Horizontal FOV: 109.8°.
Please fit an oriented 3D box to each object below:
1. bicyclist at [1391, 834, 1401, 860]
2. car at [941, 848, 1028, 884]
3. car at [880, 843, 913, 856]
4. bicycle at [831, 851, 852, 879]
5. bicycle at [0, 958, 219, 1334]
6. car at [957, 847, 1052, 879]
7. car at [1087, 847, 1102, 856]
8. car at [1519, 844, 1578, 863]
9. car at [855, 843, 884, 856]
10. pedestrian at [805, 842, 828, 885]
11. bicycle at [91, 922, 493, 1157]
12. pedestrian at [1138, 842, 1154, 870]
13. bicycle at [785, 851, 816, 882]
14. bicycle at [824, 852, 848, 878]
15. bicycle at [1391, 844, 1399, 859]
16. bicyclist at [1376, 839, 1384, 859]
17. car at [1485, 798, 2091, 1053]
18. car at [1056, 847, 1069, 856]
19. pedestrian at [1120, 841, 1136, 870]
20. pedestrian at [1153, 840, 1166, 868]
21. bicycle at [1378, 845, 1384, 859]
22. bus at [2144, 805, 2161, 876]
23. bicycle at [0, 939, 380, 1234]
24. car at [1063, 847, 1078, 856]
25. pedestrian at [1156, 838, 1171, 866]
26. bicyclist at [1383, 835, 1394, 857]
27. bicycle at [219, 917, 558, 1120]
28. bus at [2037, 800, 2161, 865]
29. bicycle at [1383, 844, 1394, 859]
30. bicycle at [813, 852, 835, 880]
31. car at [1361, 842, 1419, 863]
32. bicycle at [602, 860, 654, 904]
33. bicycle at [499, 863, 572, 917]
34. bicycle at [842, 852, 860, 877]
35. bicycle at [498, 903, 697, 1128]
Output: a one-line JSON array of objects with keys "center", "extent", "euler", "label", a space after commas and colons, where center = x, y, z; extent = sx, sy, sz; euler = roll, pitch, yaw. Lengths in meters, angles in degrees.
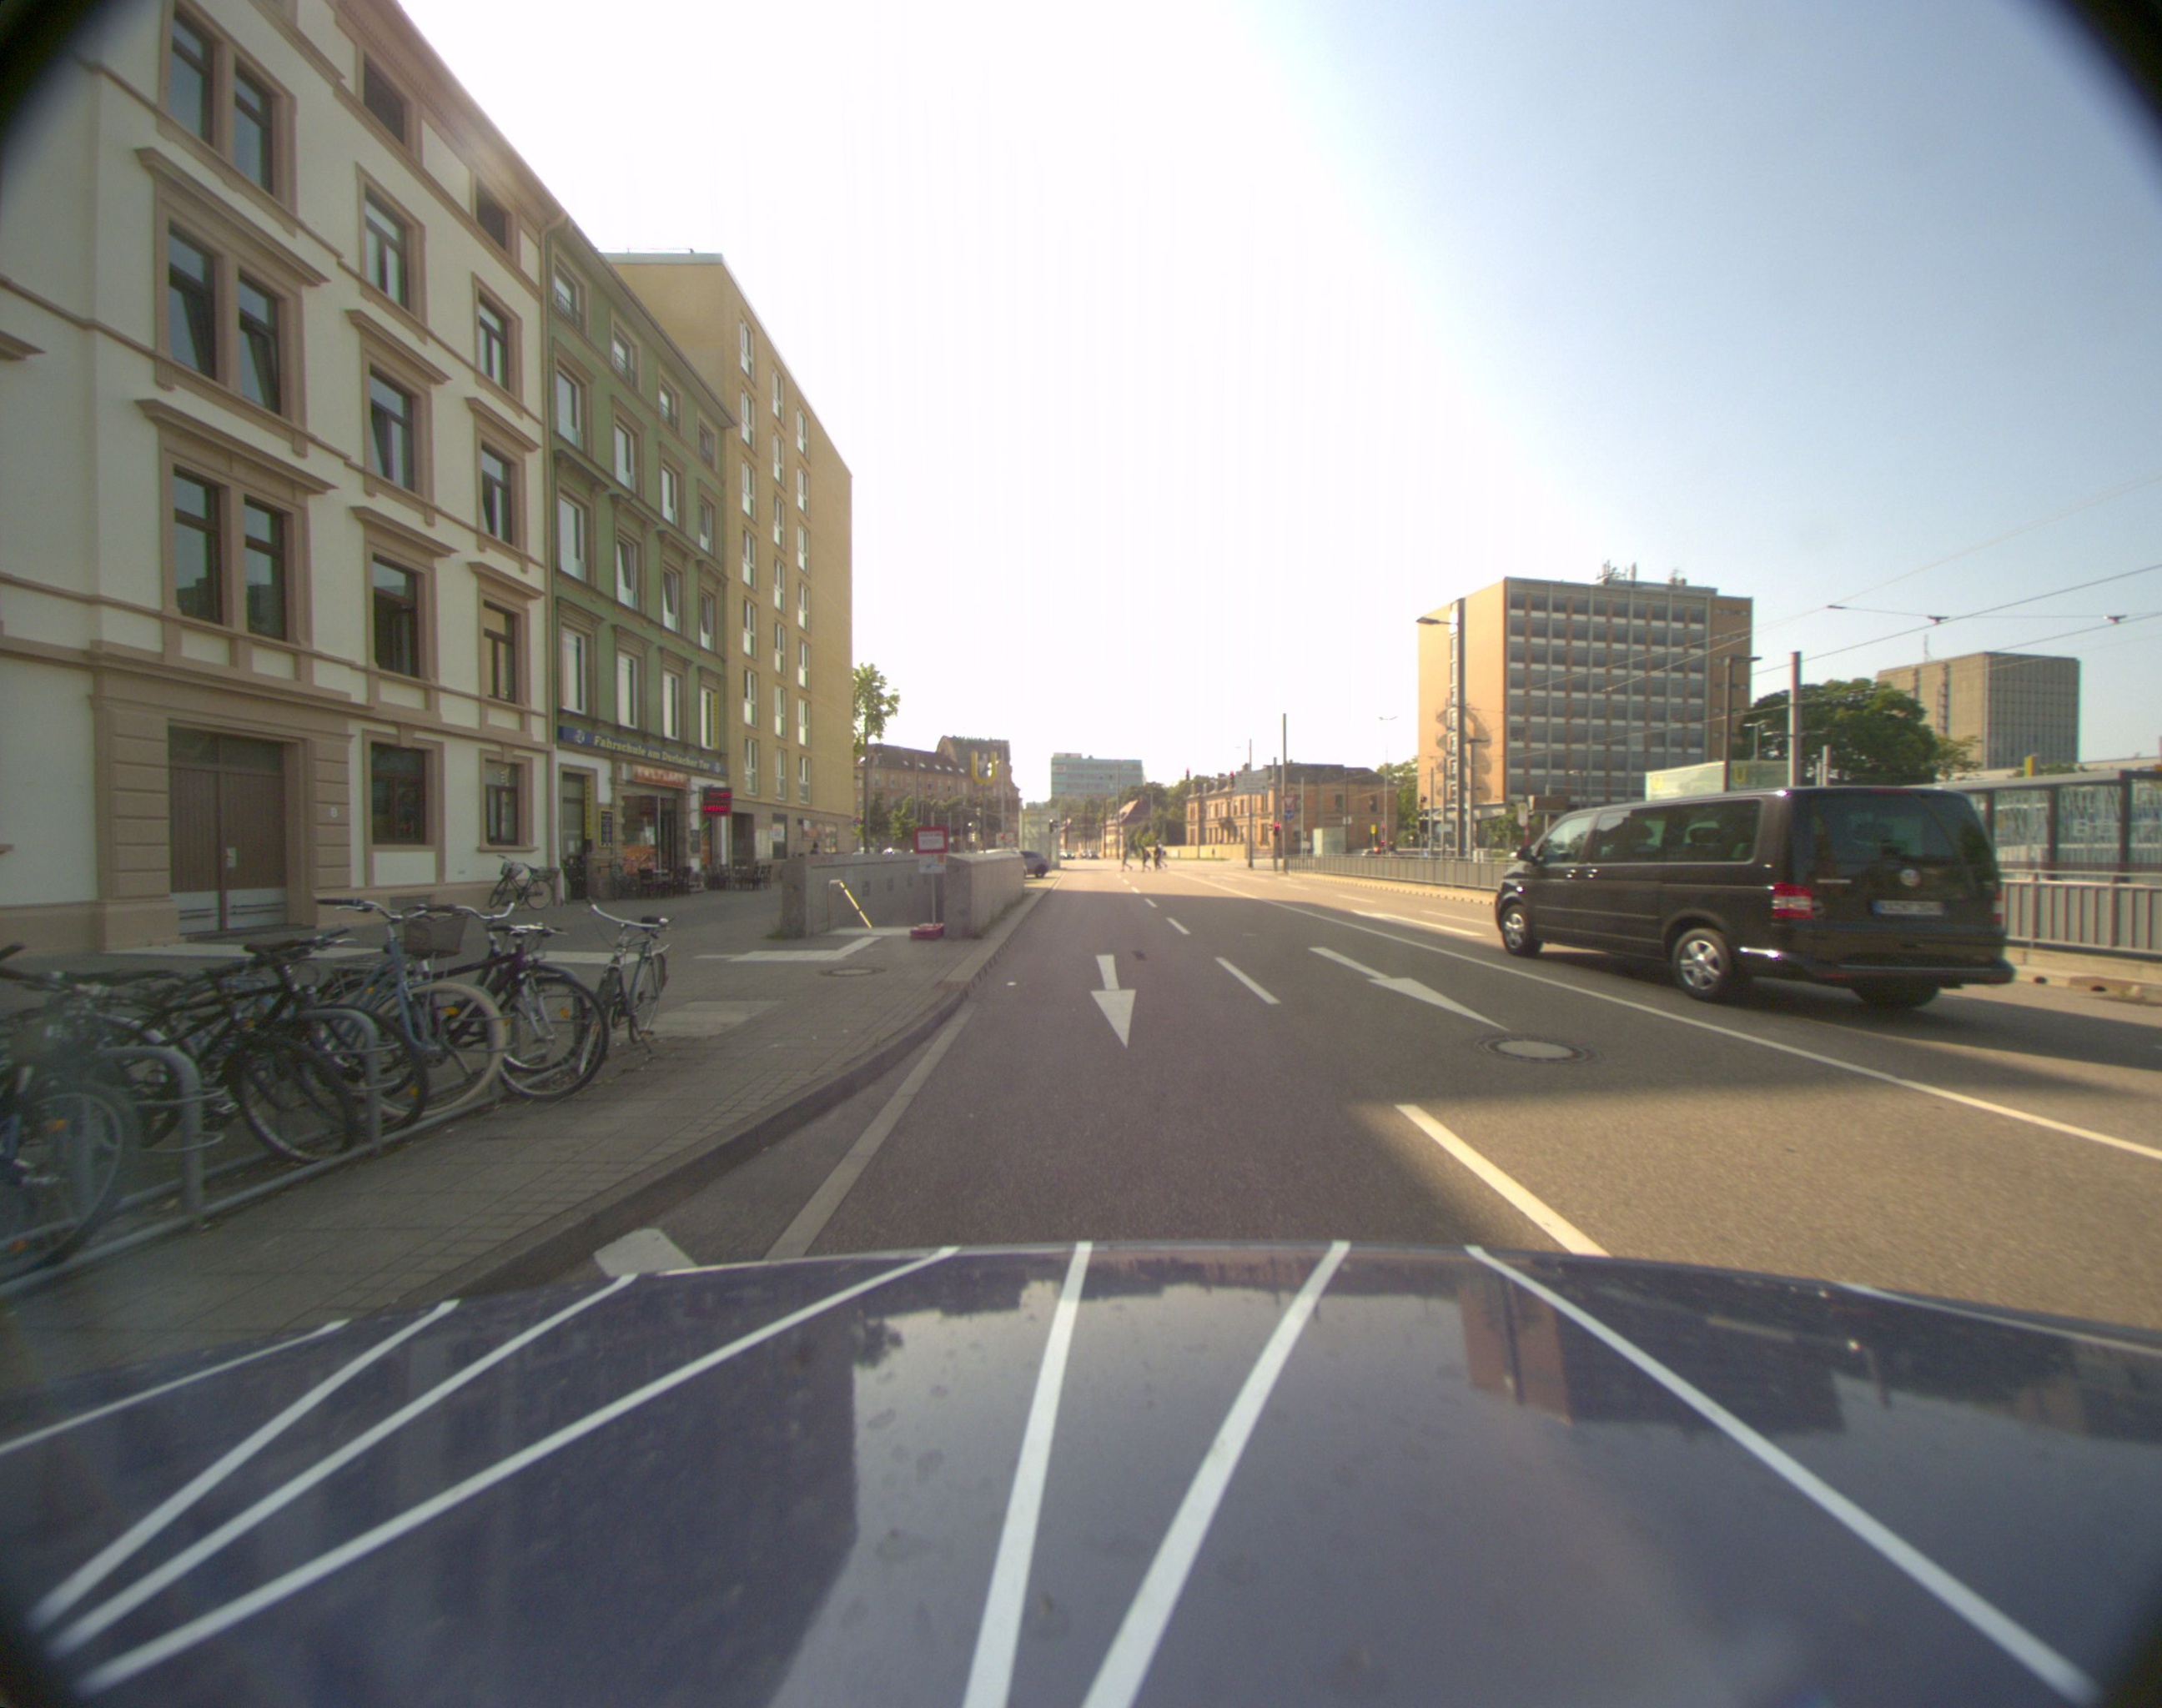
[{"center": [24.713, -0.537, 59.606], "extent": [0.580, 1.963, 0.808], "euler": [0, 1, 15], "label": "bicyclist"}, {"center": [-4.253, 0.504, 33.847], "extent": [3.535, 1.456, 1.618], "euler": [-2, 2, -41], "label": "car"}, {"center": [-21.900, -0.553, 90.226], "extent": [3.621, 1.433, 1.807], "euler": [0, 1, 32], "label": "car"}, {"center": [-11.258, 0.498, 35.801], "extent": [0.604, 1.254, 1.996], "euler": [0, 1, -8], "label": "bicycle"}, {"center": [-4.015, 0.959, 2.561], "extent": [1.637, 1.142, 0.385], "euler": [0, 1, -4], "label": "bicycle"}, {"center": [-3.754, 0.410, 37.777], "extent": [4.418, 1.415, 1.842], "euler": [-2, 2, -41], "label": "car"}, {"center": [2.060, -0.345, 116.910], "extent": [1.693, 1.319, 3.997], "euler": [0, 1, -8], "label": "car"}, {"center": [39.065, -0.060, 63.576], "extent": [3.990, 1.587, 2.003], "euler": [0, 1, 23], "label": "car"}, {"center": [-32.401, -0.701, 116.441], "extent": [4.278, 1.875, 1.798], "euler": [0, -1, 28], "label": "car"}, {"center": [-10.070, 0.365, 28.943], "extent": [0.610, 1.620, 0.737], "euler": [0, 1, 1], "label": "pedestrian"}, {"center": [-4.178, 0.960, 4.091], "extent": [1.637, 1.142, 0.385], "euler": [0, 1, -4], "label": "bicycle"}, {"center": [3.707, 0.093, 43.186], "extent": [0.810, 1.539, 0.548], "euler": [2, 2, 2], "label": "pedestrian"}, {"center": [-12.021, 0.523, 32.630], "extent": [0.604, 1.254, 1.997], "euler": [0, 1, 0], "label": "bicycle"}, {"center": [-12.144, 0.539, 37.691], "extent": [0.604, 1.254, 1.849], "euler": [0, 1, 0], "label": "bicycle"}, {"center": [24.654, -0.158, 59.661], "extent": [0.376, 1.159, 1.861], "euler": [0, 0, 16], "label": "bicycle"}, {"center": [23.549, -0.389, 59.775], "extent": [0.511, 1.621, 0.808], "euler": [0, 1, 15], "label": "bicyclist"}, {"center": [6.578, 0.513, 8.085], "extent": [1.998, 1.893, 4.715], "euler": [1, 1, 0], "label": "car"}, {"center": [-3.172, -0.460, 130.510], "extent": [1.927, 1.627, 3.997], "euler": [0, 1, -8], "label": "car"}, {"center": [2.801, 0.068, 45.145], "extent": [0.816, 1.683, 0.651], "euler": [2, 2, 1], "label": "pedestrian"}, {"center": [4.675, 0.000, 45.069], "extent": [0.634, 1.588, 0.468], "euler": [2, 2, -1], "label": "pedestrian"}, {"center": [23.595, -0.157, 59.835], "extent": [0.311, 1.159, 1.501], "euler": [0, 0, 16], "label": "bicycle"}, {"center": [53.340, -0.558, 29.699], "extent": [13.276, 3.160, 3.232], "euler": [1, 1, 43], "label": "bus"}, {"center": [-4.080, 0.968, 3.283], "extent": [1.637, 1.142, 0.385], "euler": [0, 1, -4], "label": "bicycle"}, {"center": [-1.640, -0.432, 120.149], "extent": [1.927, 1.368, 3.997], "euler": [0, 1, -8], "label": "car"}, {"center": [5.269, -0.121, 48.428], "extent": [0.834, 1.778, 0.729], "euler": [2, 2, 8], "label": "pedestrian"}, {"center": [23.104, -0.596, 57.083], "extent": [0.588, 1.647, 0.791], "euler": [0, 1, 11], "label": "bicyclist"}, {"center": [-4.215, 0.986, 4.689], "extent": [1.637, 1.142, 0.385], "euler": [0, 1, -4], "label": "bicycle"}, {"center": [59.702, -1.127, 38.759], "extent": [13.276, 3.399, 3.232], "euler": [1, 1, 44], "label": "bus"}, {"center": [23.116, -0.181, 57.151], "extent": [0.402, 1.103, 1.748], "euler": [0, 1, 11], "label": "bicycle"}, {"center": [-12.016, 0.548, 35.543], "extent": [0.604, 1.254, 1.996], "euler": [0, 1, -8], "label": "bicycle"}, {"center": [27.069, -0.136, 66.604], "extent": [4.564, 1.842, 2.003], "euler": [0, 1, 22], "label": "car"}, {"center": [-12.573, 0.750, 21.127], "extent": [0.384, 1.127, 1.719], "euler": [0, 1, 1], "label": "bicycle"}, {"center": [-12.399, 0.794, 17.325], "extent": [0.384, 1.127, 1.719], "euler": [0, 1, 1], "label": "bicycle"}, {"center": [-12.324, 0.550, 40.714], "extent": [0.470, 1.254, 1.636], "euler": [0, 1, 0], "label": "bicycle"}, {"center": [-3.146, 0.967, 5.122], "extent": [0.408, 1.142, 1.655], "euler": [0, 1, -5], "label": "bicycle"}]
